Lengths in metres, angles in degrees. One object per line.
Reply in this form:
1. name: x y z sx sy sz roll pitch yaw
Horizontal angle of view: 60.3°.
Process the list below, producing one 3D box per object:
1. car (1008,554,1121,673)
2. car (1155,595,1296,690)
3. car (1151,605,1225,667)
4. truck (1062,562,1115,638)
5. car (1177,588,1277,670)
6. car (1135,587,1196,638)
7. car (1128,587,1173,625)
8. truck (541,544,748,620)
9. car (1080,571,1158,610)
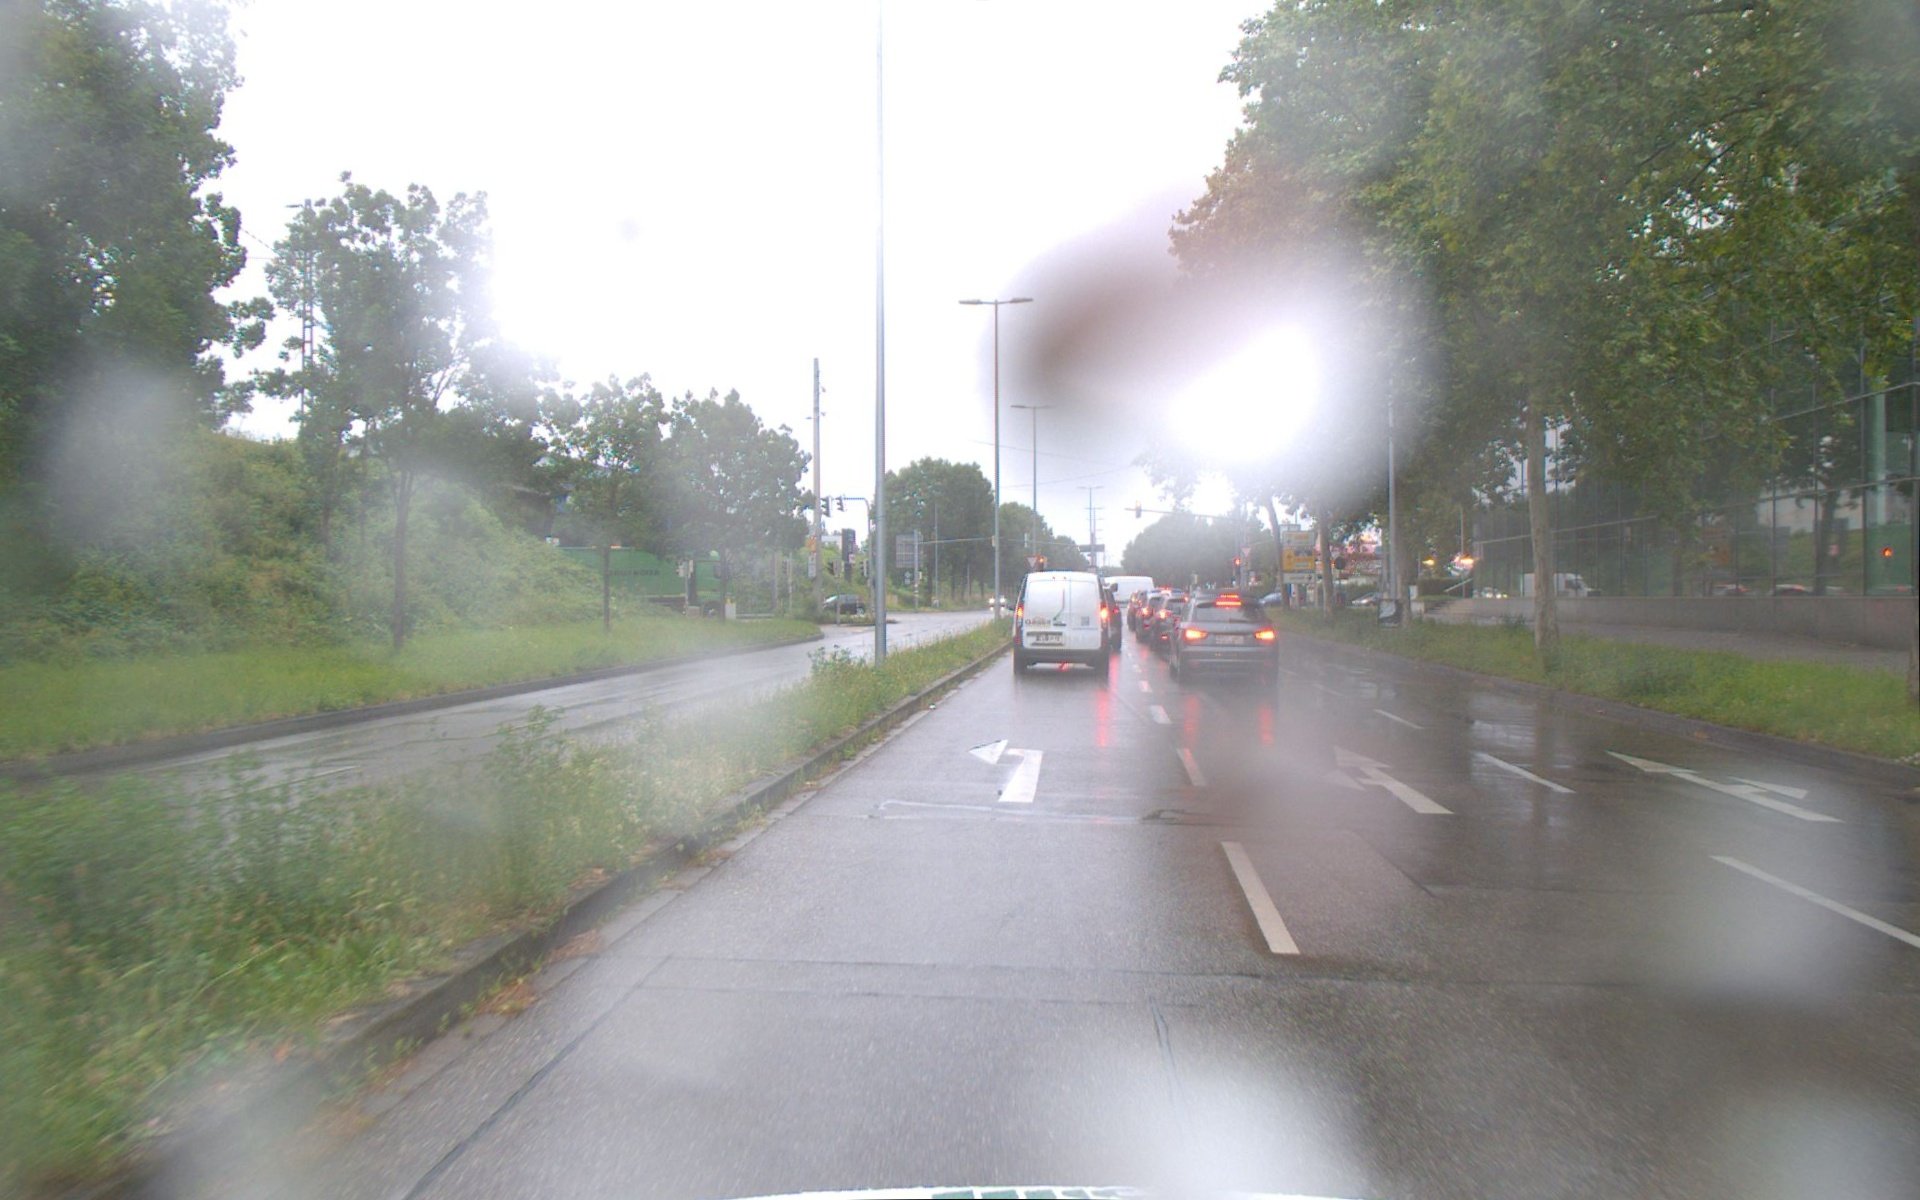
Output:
1. car: 1.931 0.281 30.692 1.952 2.049 4.001 0 -1 3
2. car: 4.447 0.671 28.239 1.952 1.477 4.002 1 0 3
3. car: 5.847 0.894 42.764 1.675 1.470 4.003 0 1 5
4. truck: 4.361 0.009 56.768 1.720 2.509 4.002 0 0 3
5. car: 5.576 0.564 34.911 1.672 1.577 4.002 0 1 3
6. car: 6.186 0.354 50.180 1.675 1.470 4.003 0 1 5
7. car: 7.501 0.219 65.364 1.675 1.470 4.003 0 1 5
8. truck: -15.854 -0.829 83.651 10.011 3.512 2.629 1 -2 -33
9. car: 12.105 -0.711 125.871 5.941 2.792 1.978 1 -2 -32
